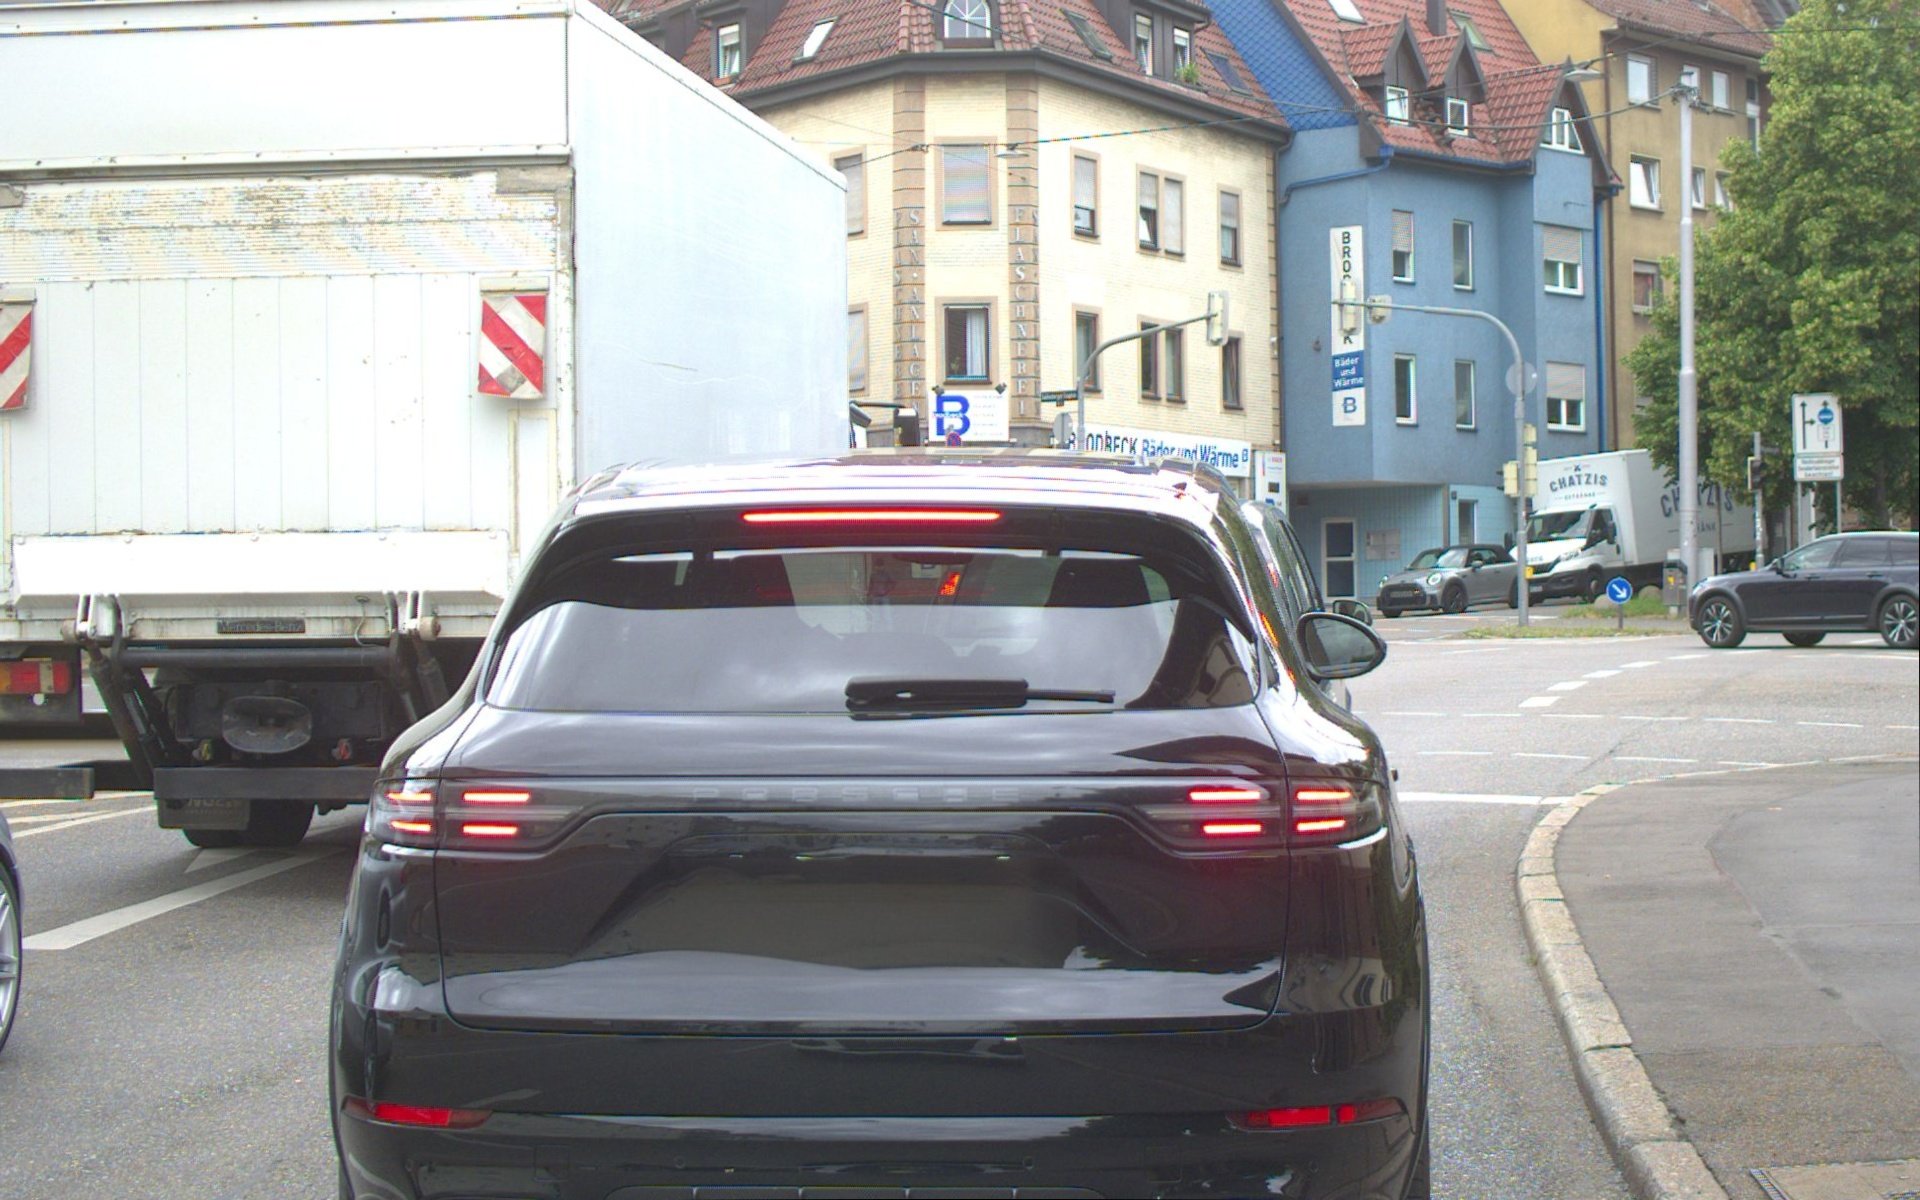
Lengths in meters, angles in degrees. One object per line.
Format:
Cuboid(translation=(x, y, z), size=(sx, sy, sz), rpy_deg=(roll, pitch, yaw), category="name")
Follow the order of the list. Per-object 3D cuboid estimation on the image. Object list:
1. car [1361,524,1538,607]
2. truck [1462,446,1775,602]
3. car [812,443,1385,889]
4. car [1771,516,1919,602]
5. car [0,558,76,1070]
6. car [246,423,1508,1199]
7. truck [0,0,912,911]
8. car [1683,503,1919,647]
Cuboid(translation=(10.264, -0.727, 71.868), size=(1.998, 1.678, 3.992), rpy_deg=(0, 1, 37), category="car")
Cuboid(translation=(15.151, -1.678, 78.526), size=(2.880, 3.328, 8.772), rpy_deg=(2, 1, 41), category="truck")
Cuboid(translation=(0.757, 0.221, 15.067), size=(1.994, 1.678, 3.998), rpy_deg=(0, 1, 10), category="car")
Cuboid(translation=(22.322, -1.019, 86.397), size=(1.999, 2.007, 3.990), rpy_deg=(2, 1, 43), category="car")
Cuboid(translation=(-3.543, 0.624, 7.859), size=(1.696, 1.368, 4.177), rpy_deg=(0, 2, 4), category="car")
Cuboid(translation=(-0.238, 0.508, 7.402), size=(1.978, 1.678, 4.001), rpy_deg=(0, 2, -3), category="car")
Cuboid(translation=(-2.229, -0.715, 17.164), size=(2.770, 3.562, 8.062), rpy_deg=(0, 1, 8), category="truck")
Cuboid(translation=(11.773, -0.290, 44.284), size=(1.923, 1.766, 4.649), rpy_deg=(1, -1, -38), category="car")
